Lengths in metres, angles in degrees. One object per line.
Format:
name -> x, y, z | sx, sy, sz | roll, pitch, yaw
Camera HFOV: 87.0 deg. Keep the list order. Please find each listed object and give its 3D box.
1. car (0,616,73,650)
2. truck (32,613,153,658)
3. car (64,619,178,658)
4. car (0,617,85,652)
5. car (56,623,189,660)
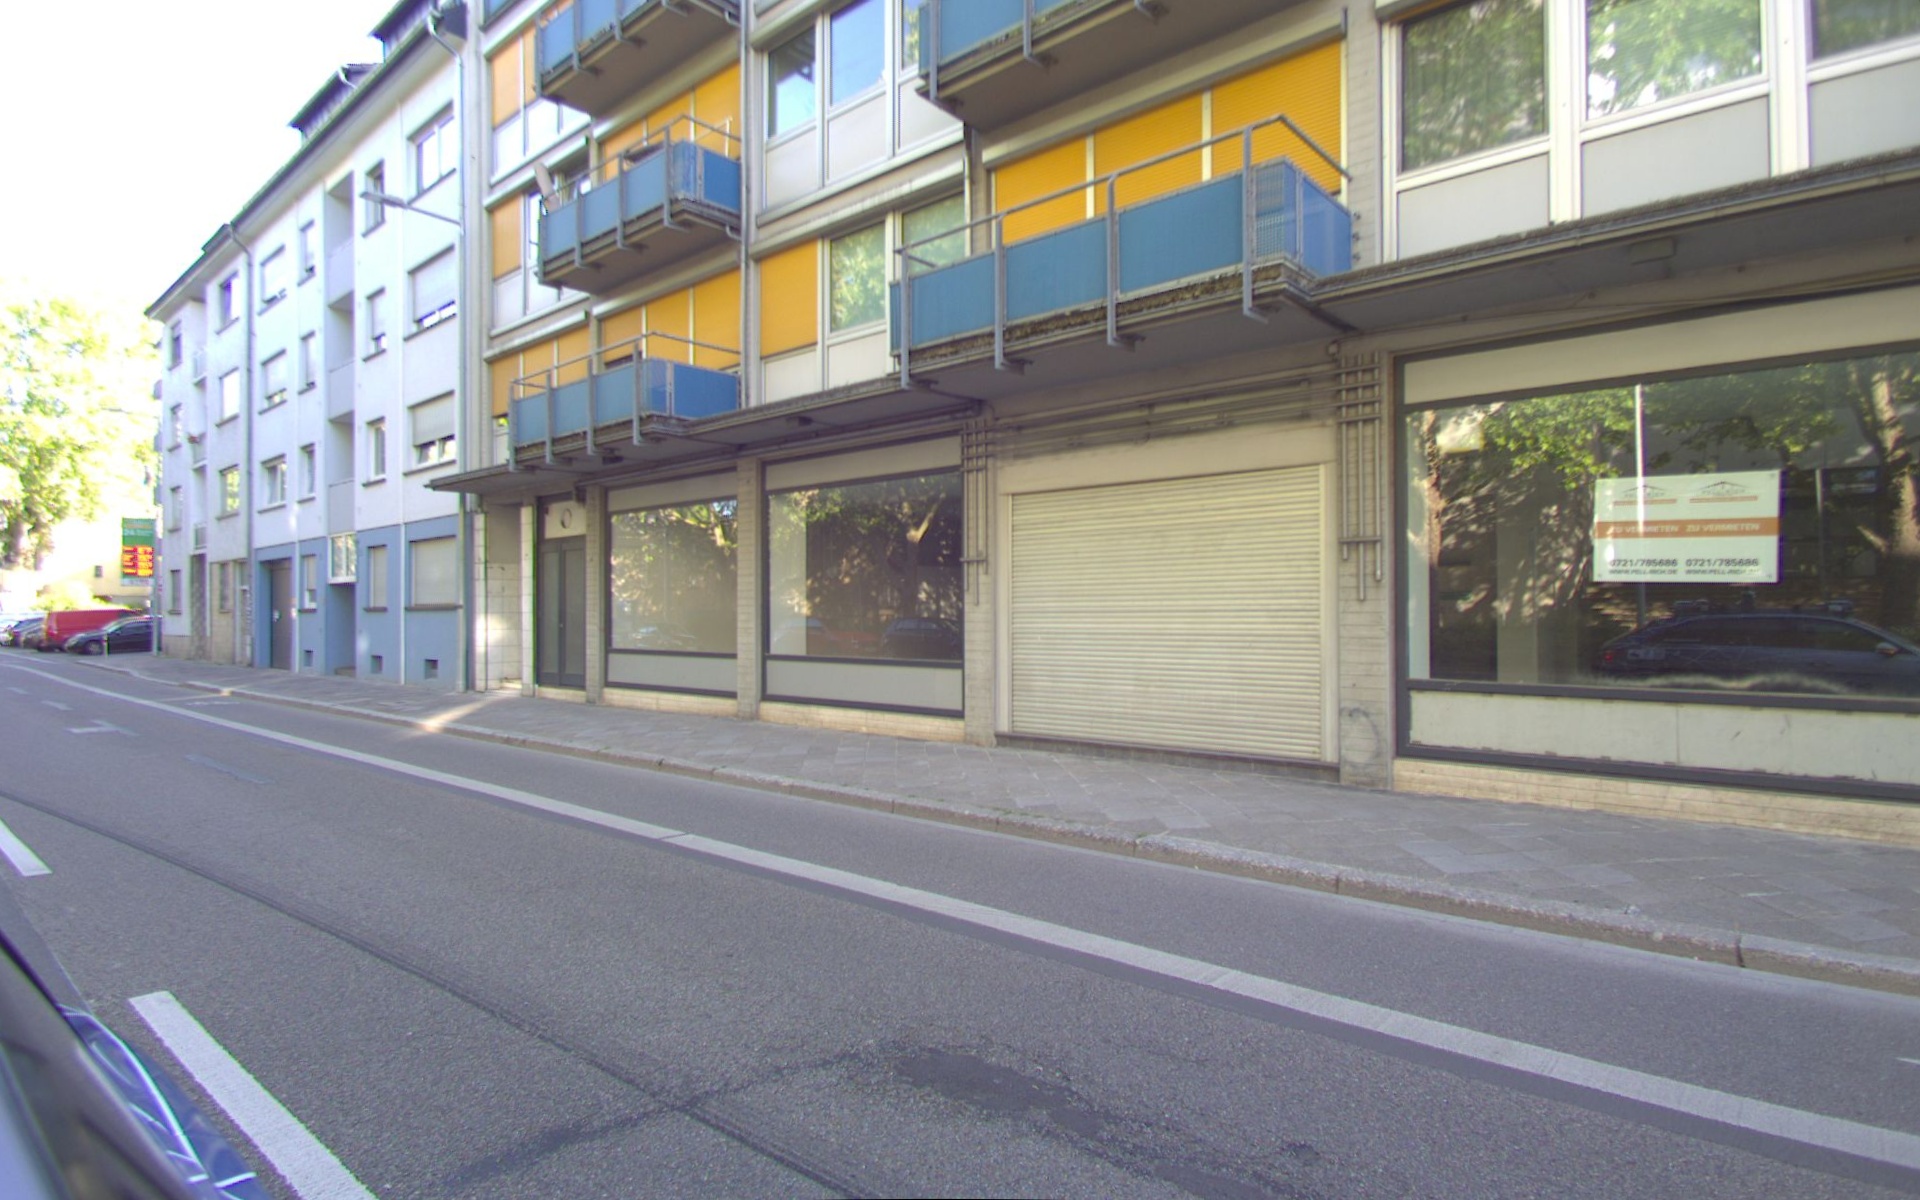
car -> -59.340, 2.086, 64.403 | 2.000, 2.052, 4.180 | -1, 0, 43
truck -> -40.719, 1.640, 47.575 | 1.999, 1.939, 4.040 | -1, 0, 40
car -> -38.043, 1.722, 45.944 | 1.657, 1.583, 3.762 | -1, 0, 41
car -> -56.057, 2.058, 61.474 | 2.000, 1.971, 4.180 | -1, 0, 43
car -> -36.493, 1.785, 44.161 | 1.657, 1.417, 4.269 | -1, 0, 40
